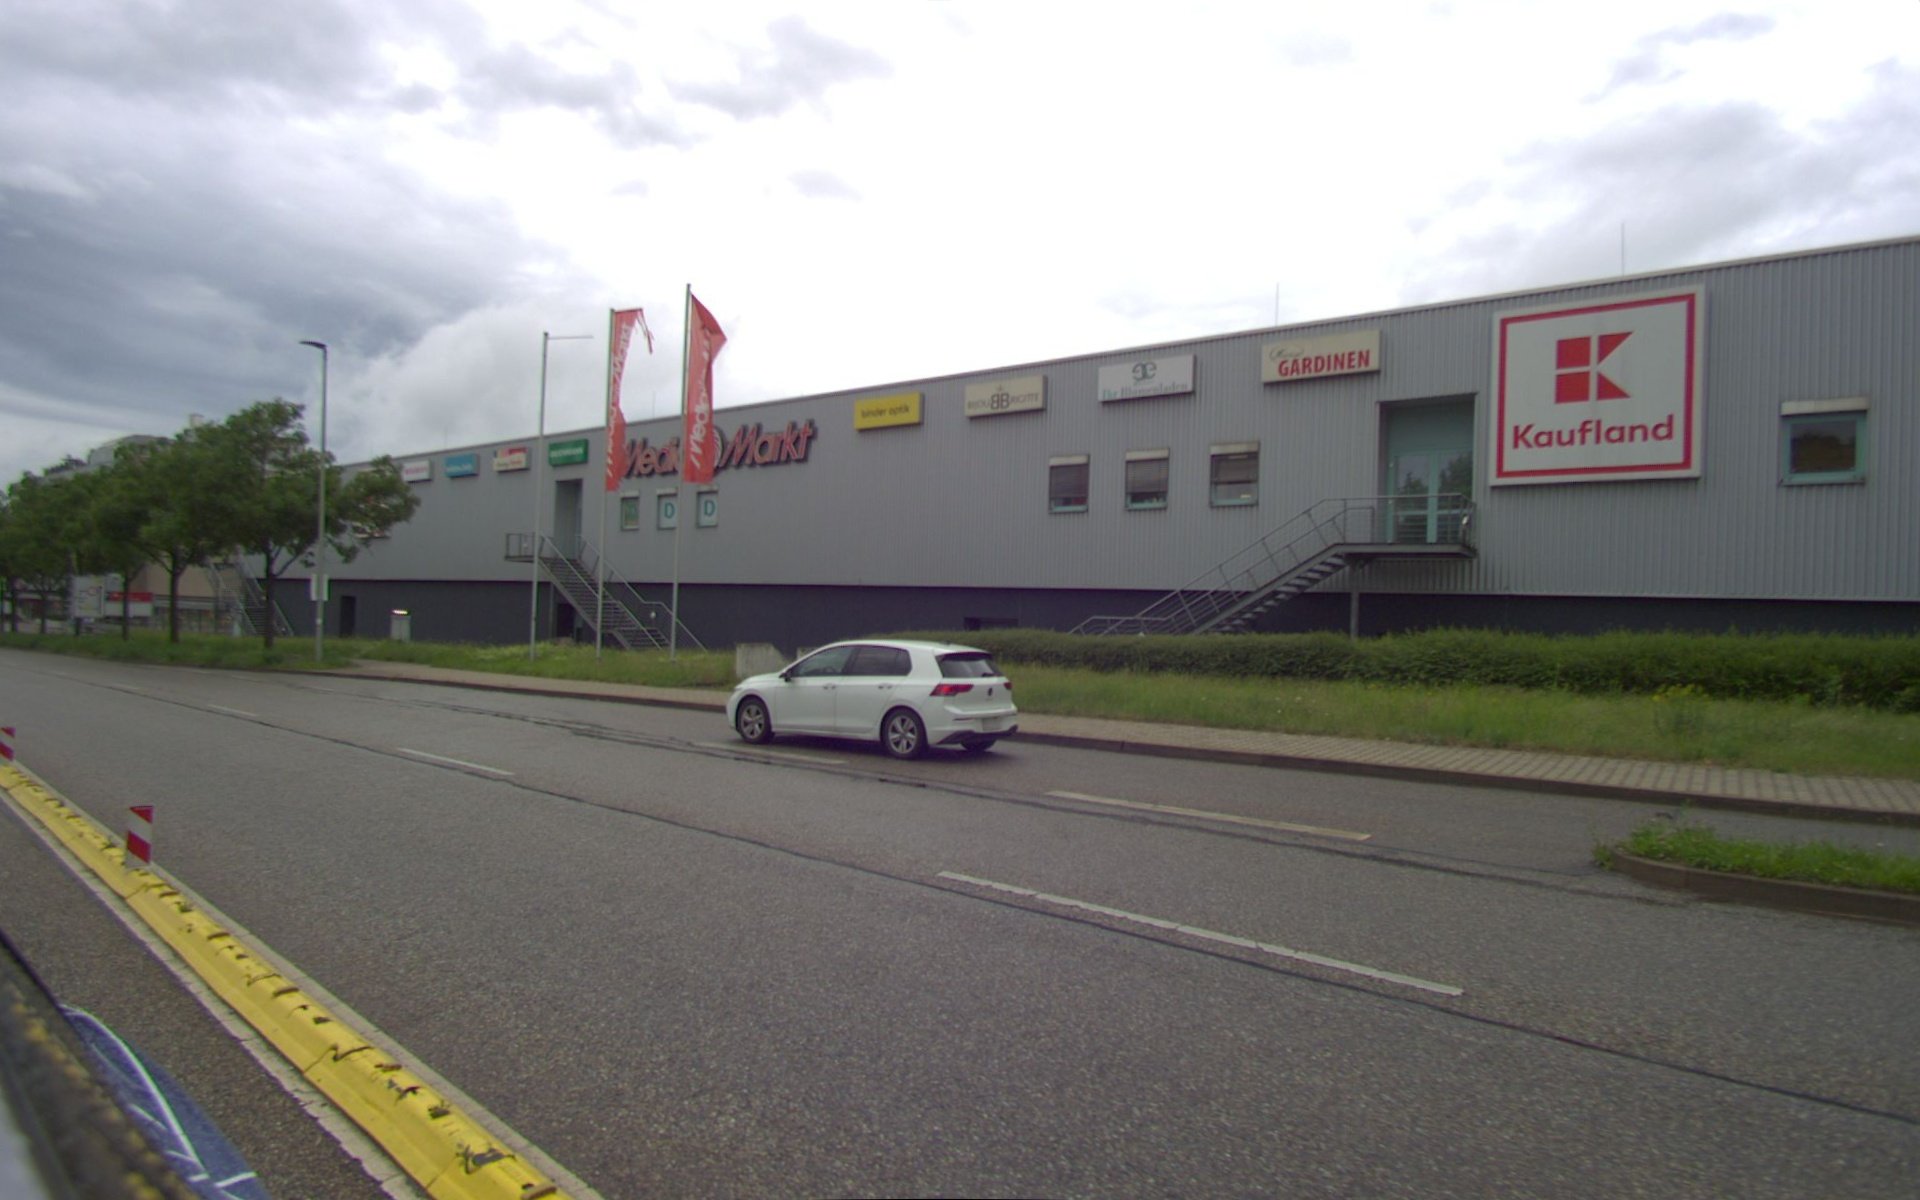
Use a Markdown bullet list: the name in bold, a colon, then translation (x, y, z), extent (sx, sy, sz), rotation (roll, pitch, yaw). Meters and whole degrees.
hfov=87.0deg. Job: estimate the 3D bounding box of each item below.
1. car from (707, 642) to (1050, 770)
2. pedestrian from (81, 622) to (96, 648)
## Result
- **car**: translation (-1.168, 1.290, 13.514), extent (4.415, 1.419, 1.882), rotation (-1, -3, 36)
- **pedestrian**: translation (-54.894, 2.216, 63.740), extent (0.766, 1.595, 0.579), rotation (-1, 0, 38)
